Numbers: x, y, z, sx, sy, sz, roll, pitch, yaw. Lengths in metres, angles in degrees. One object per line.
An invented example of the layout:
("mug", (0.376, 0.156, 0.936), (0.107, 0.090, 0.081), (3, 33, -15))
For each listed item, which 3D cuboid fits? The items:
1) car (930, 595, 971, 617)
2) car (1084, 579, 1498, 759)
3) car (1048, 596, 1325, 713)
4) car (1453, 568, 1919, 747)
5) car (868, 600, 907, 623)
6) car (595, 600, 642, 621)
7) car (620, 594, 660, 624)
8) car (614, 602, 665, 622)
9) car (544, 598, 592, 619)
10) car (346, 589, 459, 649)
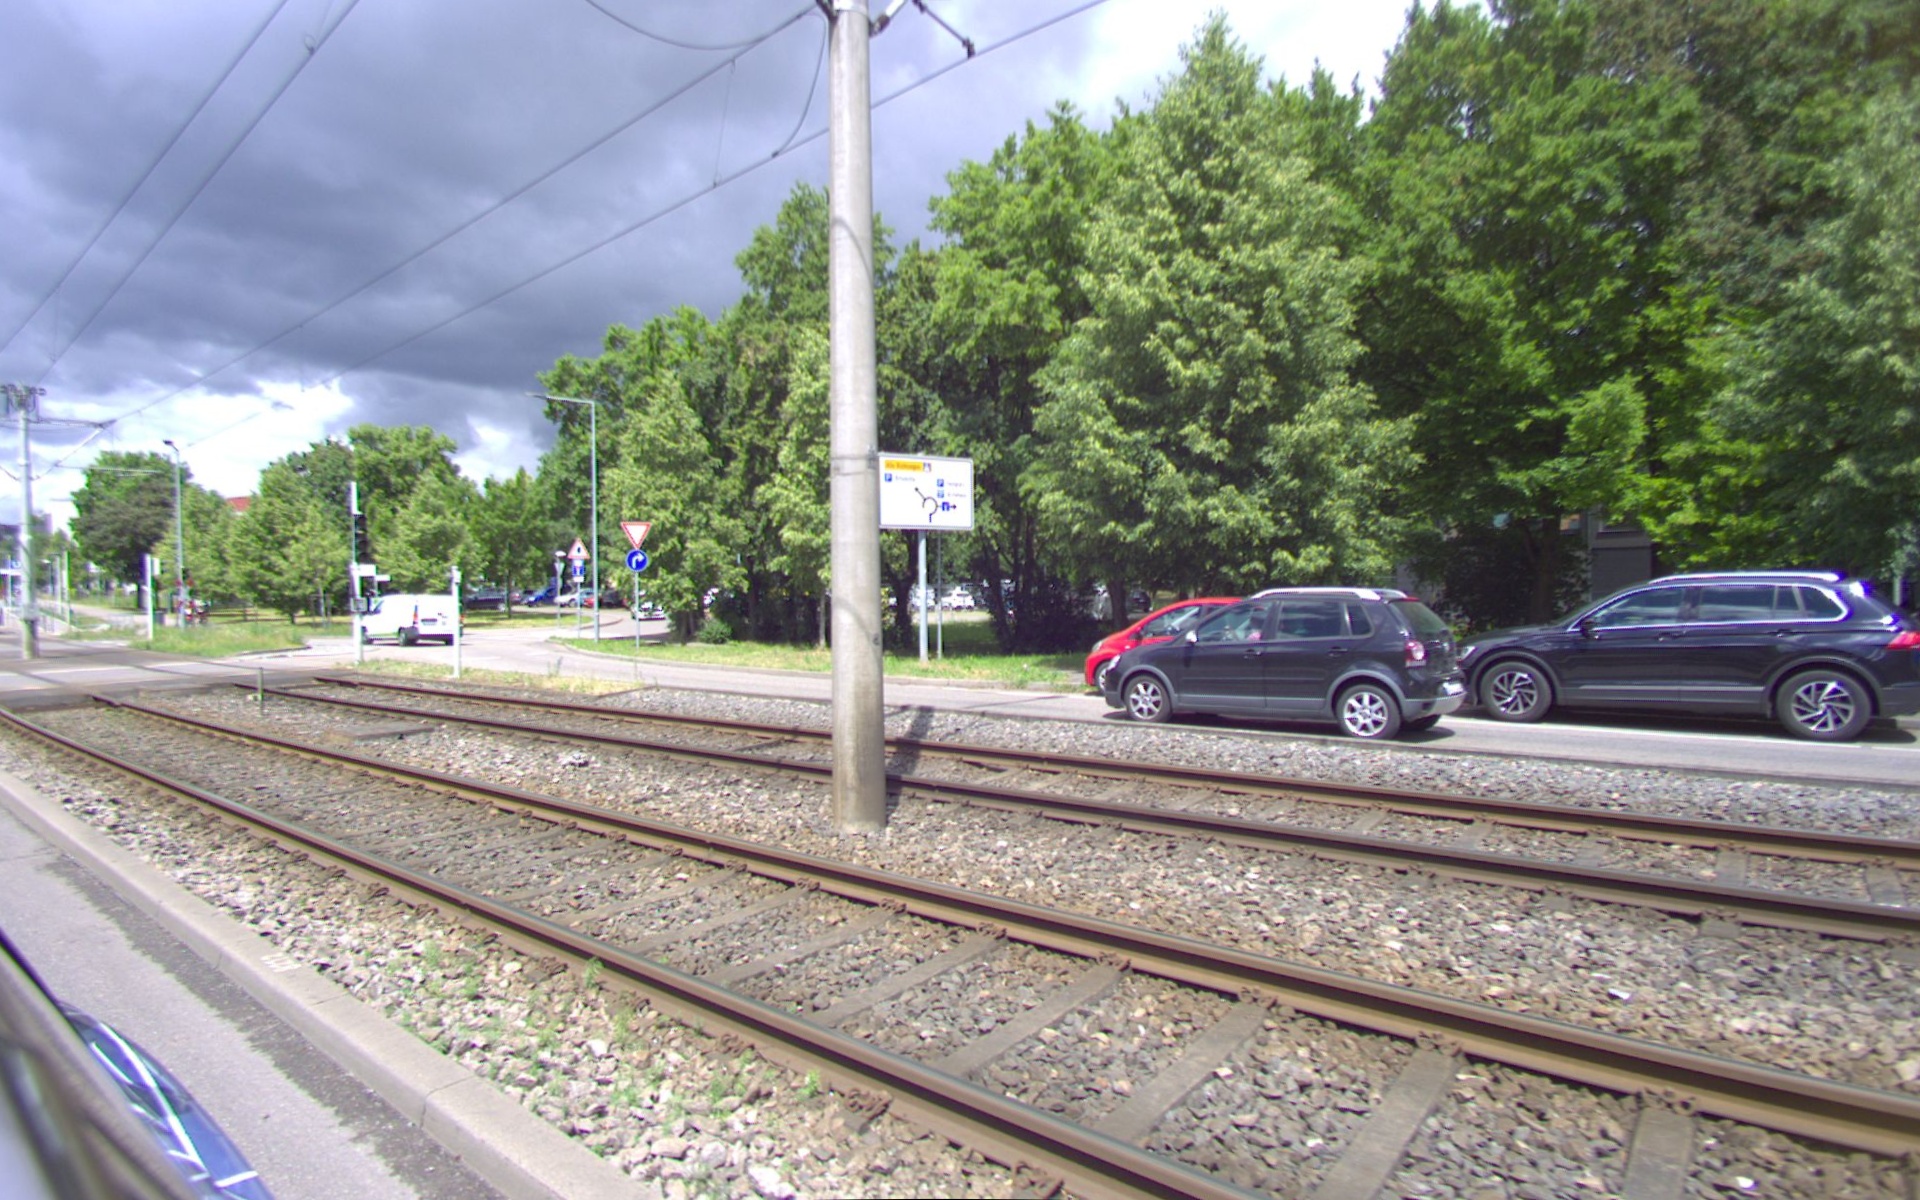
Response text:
("car", (-0.684, 0.424, 72.636), (1.728, 1.430, 4.013), (-2, 2, -19))
("car", (3.481, 0.618, 11.063), (3.997, 1.585, 1.597), (0, 2, 40))
("car", (3.282, 0.710, 14.934), (3.656, 1.462, 1.598), (0, 2, 38))
("car", (7.876, 0.567, 10.865), (4.372, 1.617, 1.564), (-2, -2, 41))
("car", (-5.117, 0.752, 70.776), (1.728, 1.430, 4.013), (-2, 2, -19))
("car", (-27.541, 0.855, 81.779), (1.619, 1.602, 3.589), (-1, -1, 24))
("car", (-19.577, 0.520, 61.805), (1.712, 1.702, 4.365), (-2, 2, -25))
("car", (-25.437, 0.952, 80.366), (1.629, 1.602, 3.568), (-1, -1, 43))
("car", (-32.648, 0.706, 84.346), (3.887, 1.652, 1.578), (-1, 2, 29))
("car", (-20.973, 0.662, 37.962), (5.229, 2.033, 1.857), (0, 2, 39))
